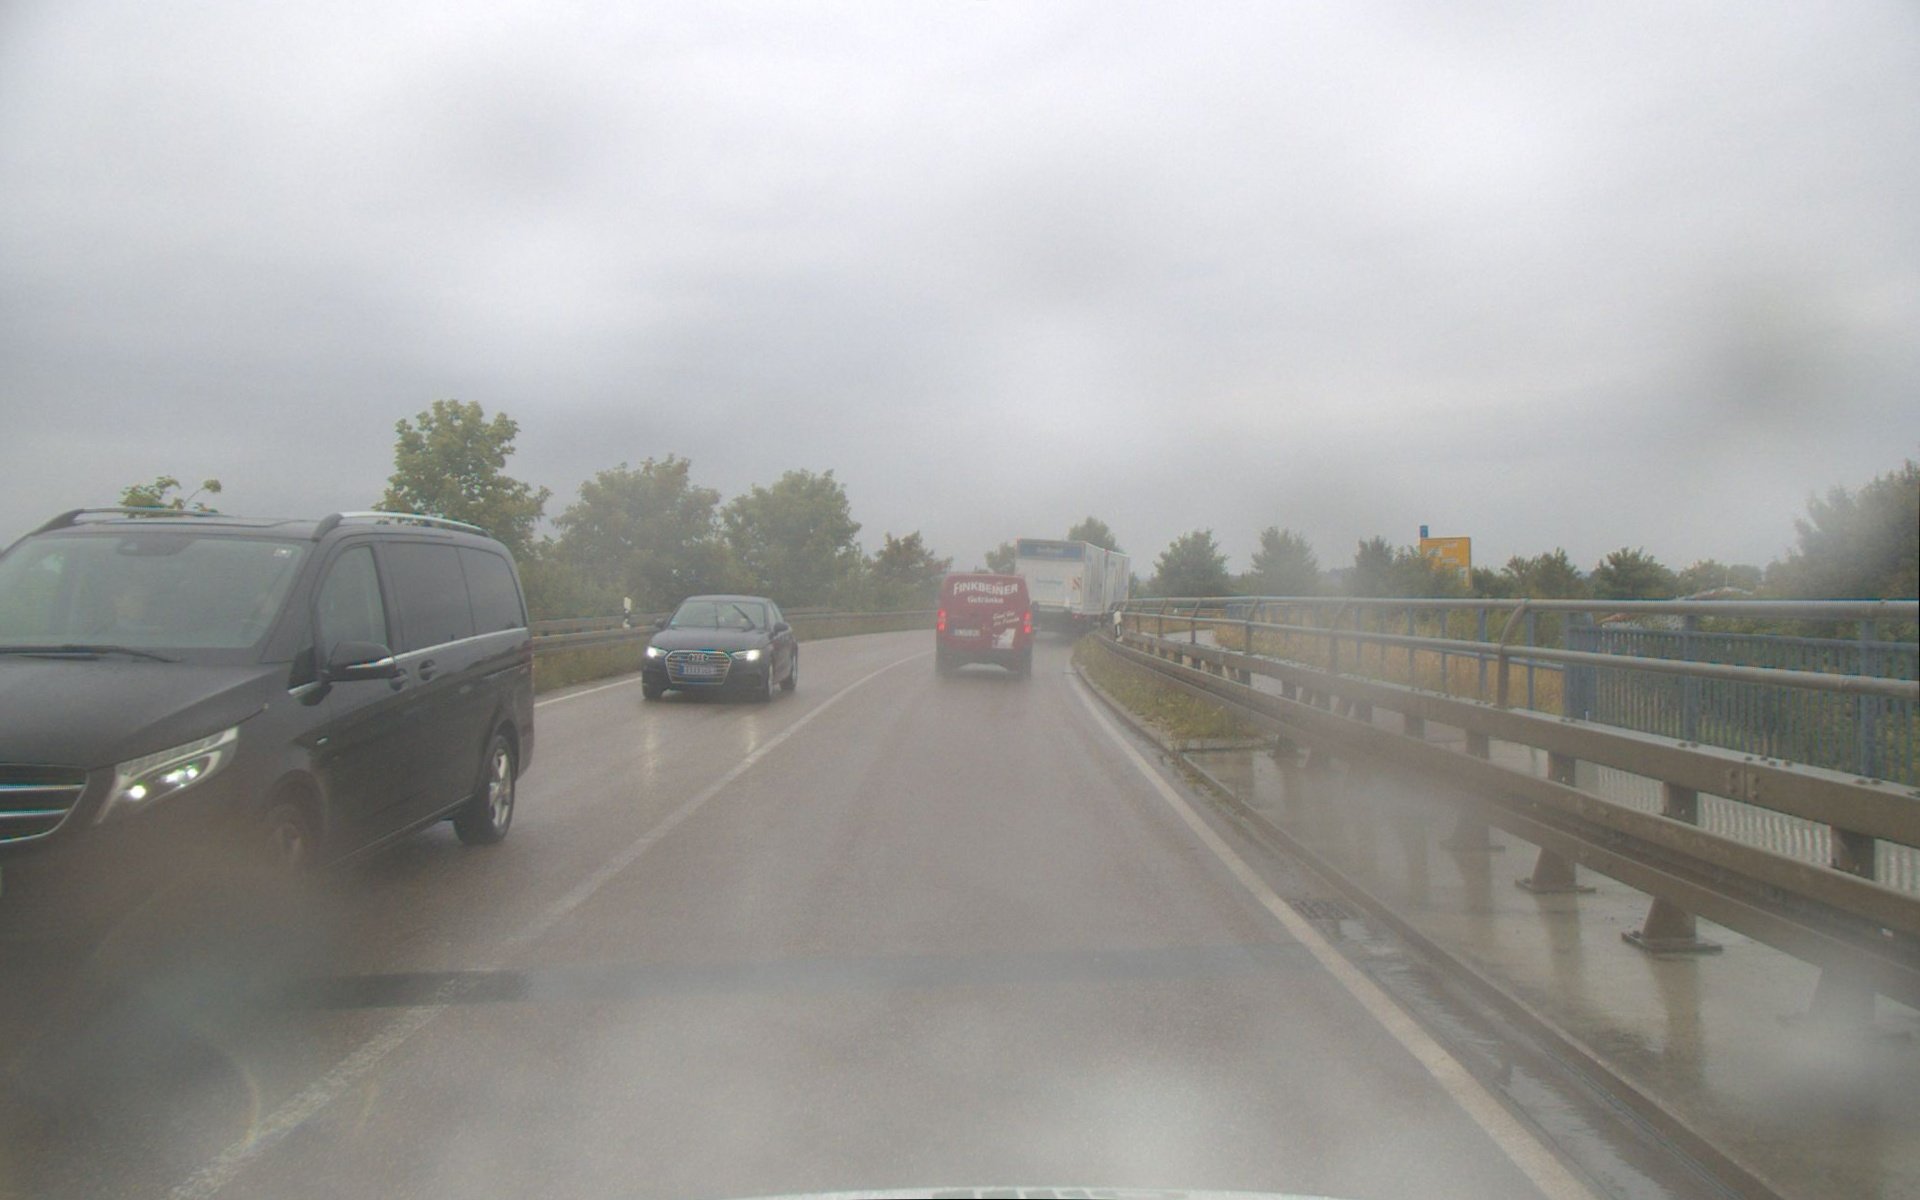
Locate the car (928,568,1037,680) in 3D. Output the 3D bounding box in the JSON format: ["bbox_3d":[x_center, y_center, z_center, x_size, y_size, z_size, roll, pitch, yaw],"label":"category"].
[{"bbox_3d":[0.385,0.406,32.185,1.953,1.959,4.143,1,2,-1],"label":"car"}]

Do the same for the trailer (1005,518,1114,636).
[{"bbox_3d":[3.884,-0.830,62.307,3.133,3.990,8.747,3,0,9],"label":"trailer"}]

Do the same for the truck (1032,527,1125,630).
[{"bbox_3d":[5.216,-0.887,70.971,3.133,3.990,8.747,3,0,9],"label":"truck"}]

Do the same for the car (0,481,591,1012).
[{"bbox_3d":[-3.476,0.494,8.309,2.023,1.869,4.932,0,1,1],"label":"car"}]

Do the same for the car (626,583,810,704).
[{"bbox_3d":[-3.352,0.556,23.662,1.800,1.564,4.071,0,1,3],"label":"car"}]
